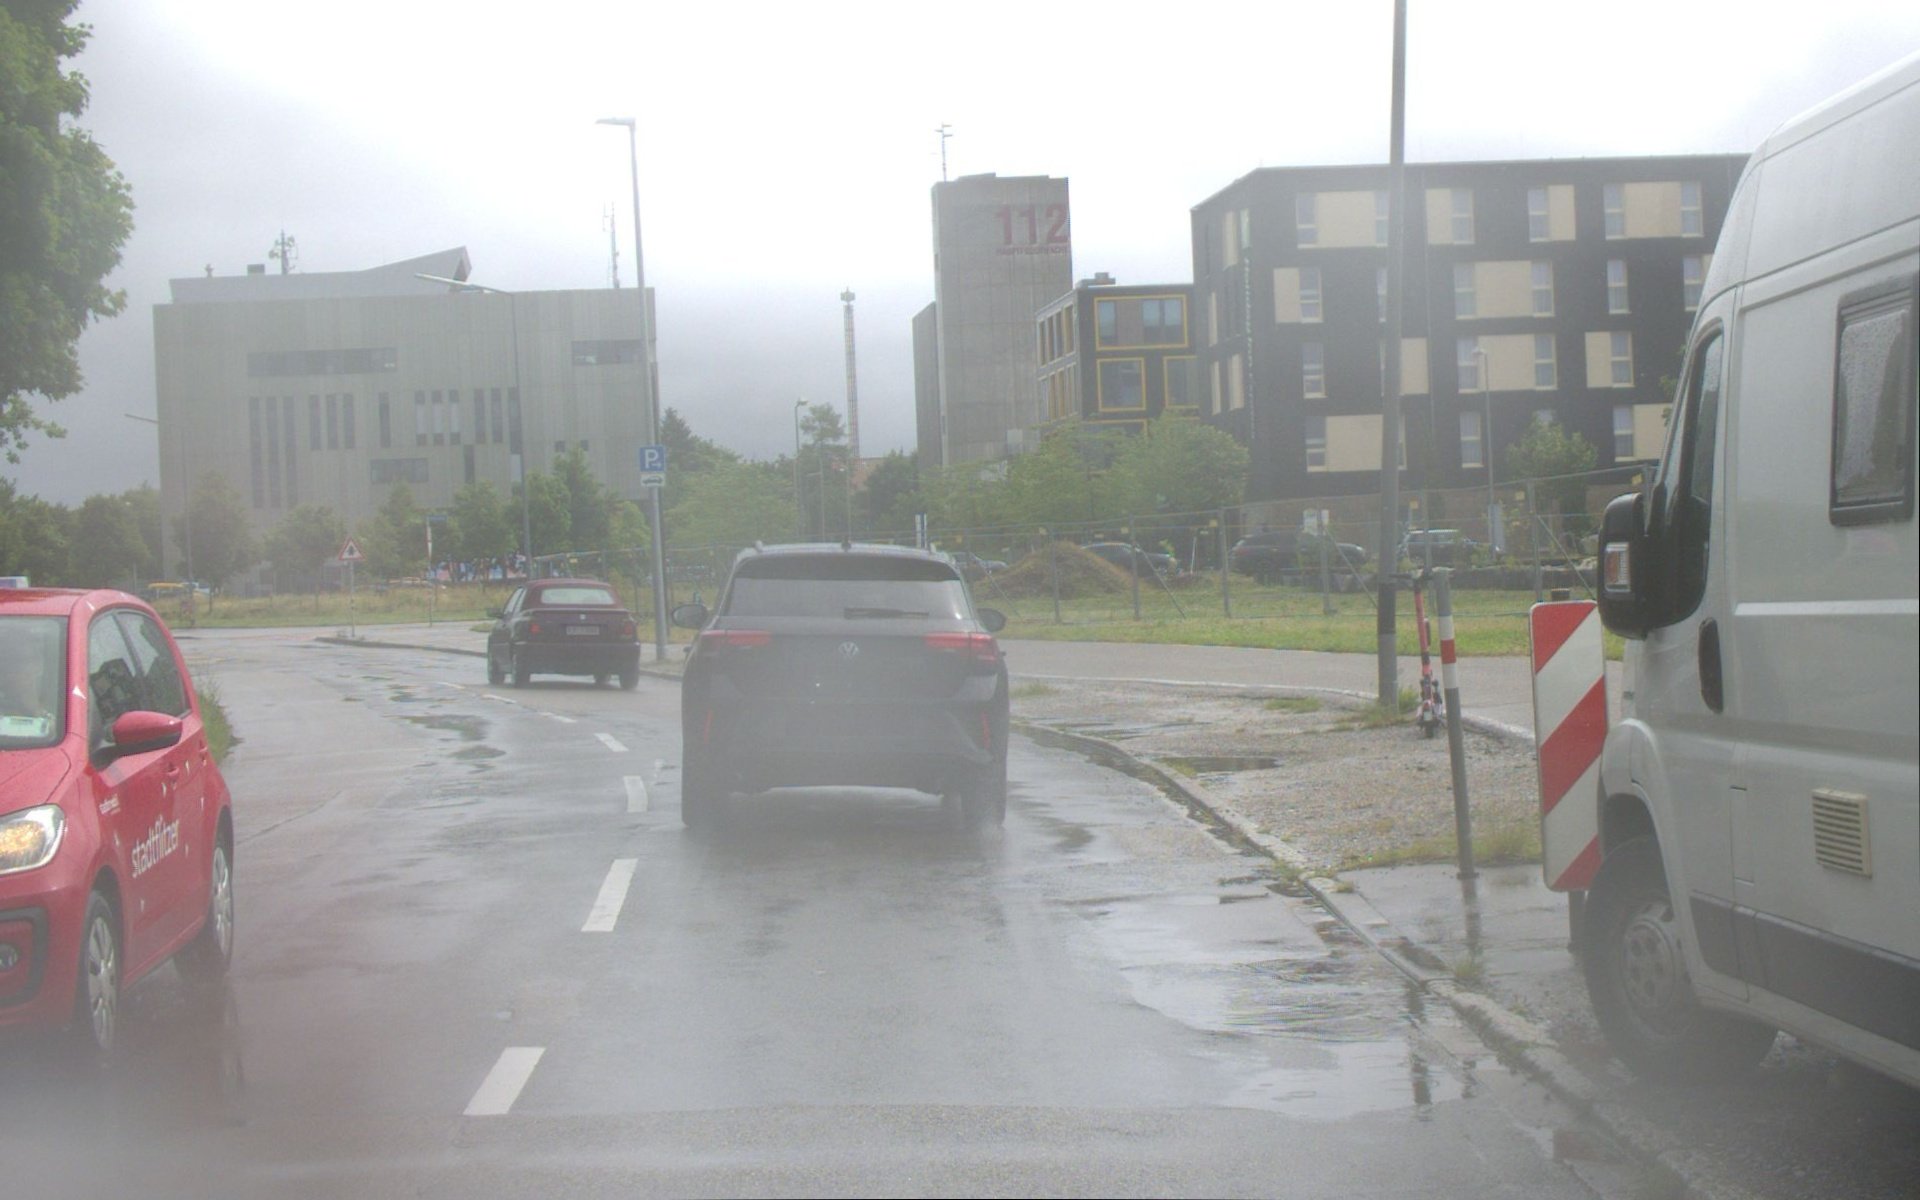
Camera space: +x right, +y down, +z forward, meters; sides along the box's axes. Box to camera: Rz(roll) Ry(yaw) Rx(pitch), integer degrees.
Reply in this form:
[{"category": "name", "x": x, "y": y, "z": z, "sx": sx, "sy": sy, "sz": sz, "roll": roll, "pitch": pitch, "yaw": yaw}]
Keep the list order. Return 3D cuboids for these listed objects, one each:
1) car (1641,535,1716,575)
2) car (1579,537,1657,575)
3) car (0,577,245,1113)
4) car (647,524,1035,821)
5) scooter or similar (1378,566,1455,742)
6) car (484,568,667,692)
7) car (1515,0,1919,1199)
[{"category": "car", "x": 27.186, "y": -1.690, "z": 130.163, "sx": 1.638, "sy": 1.392, "sz": 3.782, "roll": -1, "pitch": 0, "yaw": -7}, {"category": "car", "x": 24.851, "y": -1.654, "z": 129.926, "sx": 1.762, "sy": 1.390, "sz": 3.809, "roll": 0, "pitch": 0, "yaw": -8}, {"category": "car", "x": -3.407, "y": 0.697, "z": 11.172, "sx": 1.657, "sy": 1.463, "sz": 3.390, "roll": -2, "pitch": 1, "yaw": -5}, {"category": "car", "x": -0.693, "y": 0.361, "z": 19.748, "sx": 1.987, "sy": 1.515, "sz": 4.000, "roll": 1, "pitch": 0, "yaw": -2}, {"category": "scooter or similar", "x": 3.308, "y": 0.375, "z": 24.928, "sx": 0.491, "sy": 1.210, "sz": 1.340, "roll": -2, "pitch": 1, "yaw": 8}, {"category": "car", "x": -5.201, "y": 0.362, "z": 46.077, "sx": 1.841, "sy": 1.437, "sz": 4.001, "roll": -5, "pitch": 2, "yaw": -13}, {"category": "car", "x": 2.778, "y": -0.074, "z": 7.004, "sx": 2.092, "sy": 2.464, "sz": 5.948, "roll": -4, "pitch": 0, "yaw": -1}]
